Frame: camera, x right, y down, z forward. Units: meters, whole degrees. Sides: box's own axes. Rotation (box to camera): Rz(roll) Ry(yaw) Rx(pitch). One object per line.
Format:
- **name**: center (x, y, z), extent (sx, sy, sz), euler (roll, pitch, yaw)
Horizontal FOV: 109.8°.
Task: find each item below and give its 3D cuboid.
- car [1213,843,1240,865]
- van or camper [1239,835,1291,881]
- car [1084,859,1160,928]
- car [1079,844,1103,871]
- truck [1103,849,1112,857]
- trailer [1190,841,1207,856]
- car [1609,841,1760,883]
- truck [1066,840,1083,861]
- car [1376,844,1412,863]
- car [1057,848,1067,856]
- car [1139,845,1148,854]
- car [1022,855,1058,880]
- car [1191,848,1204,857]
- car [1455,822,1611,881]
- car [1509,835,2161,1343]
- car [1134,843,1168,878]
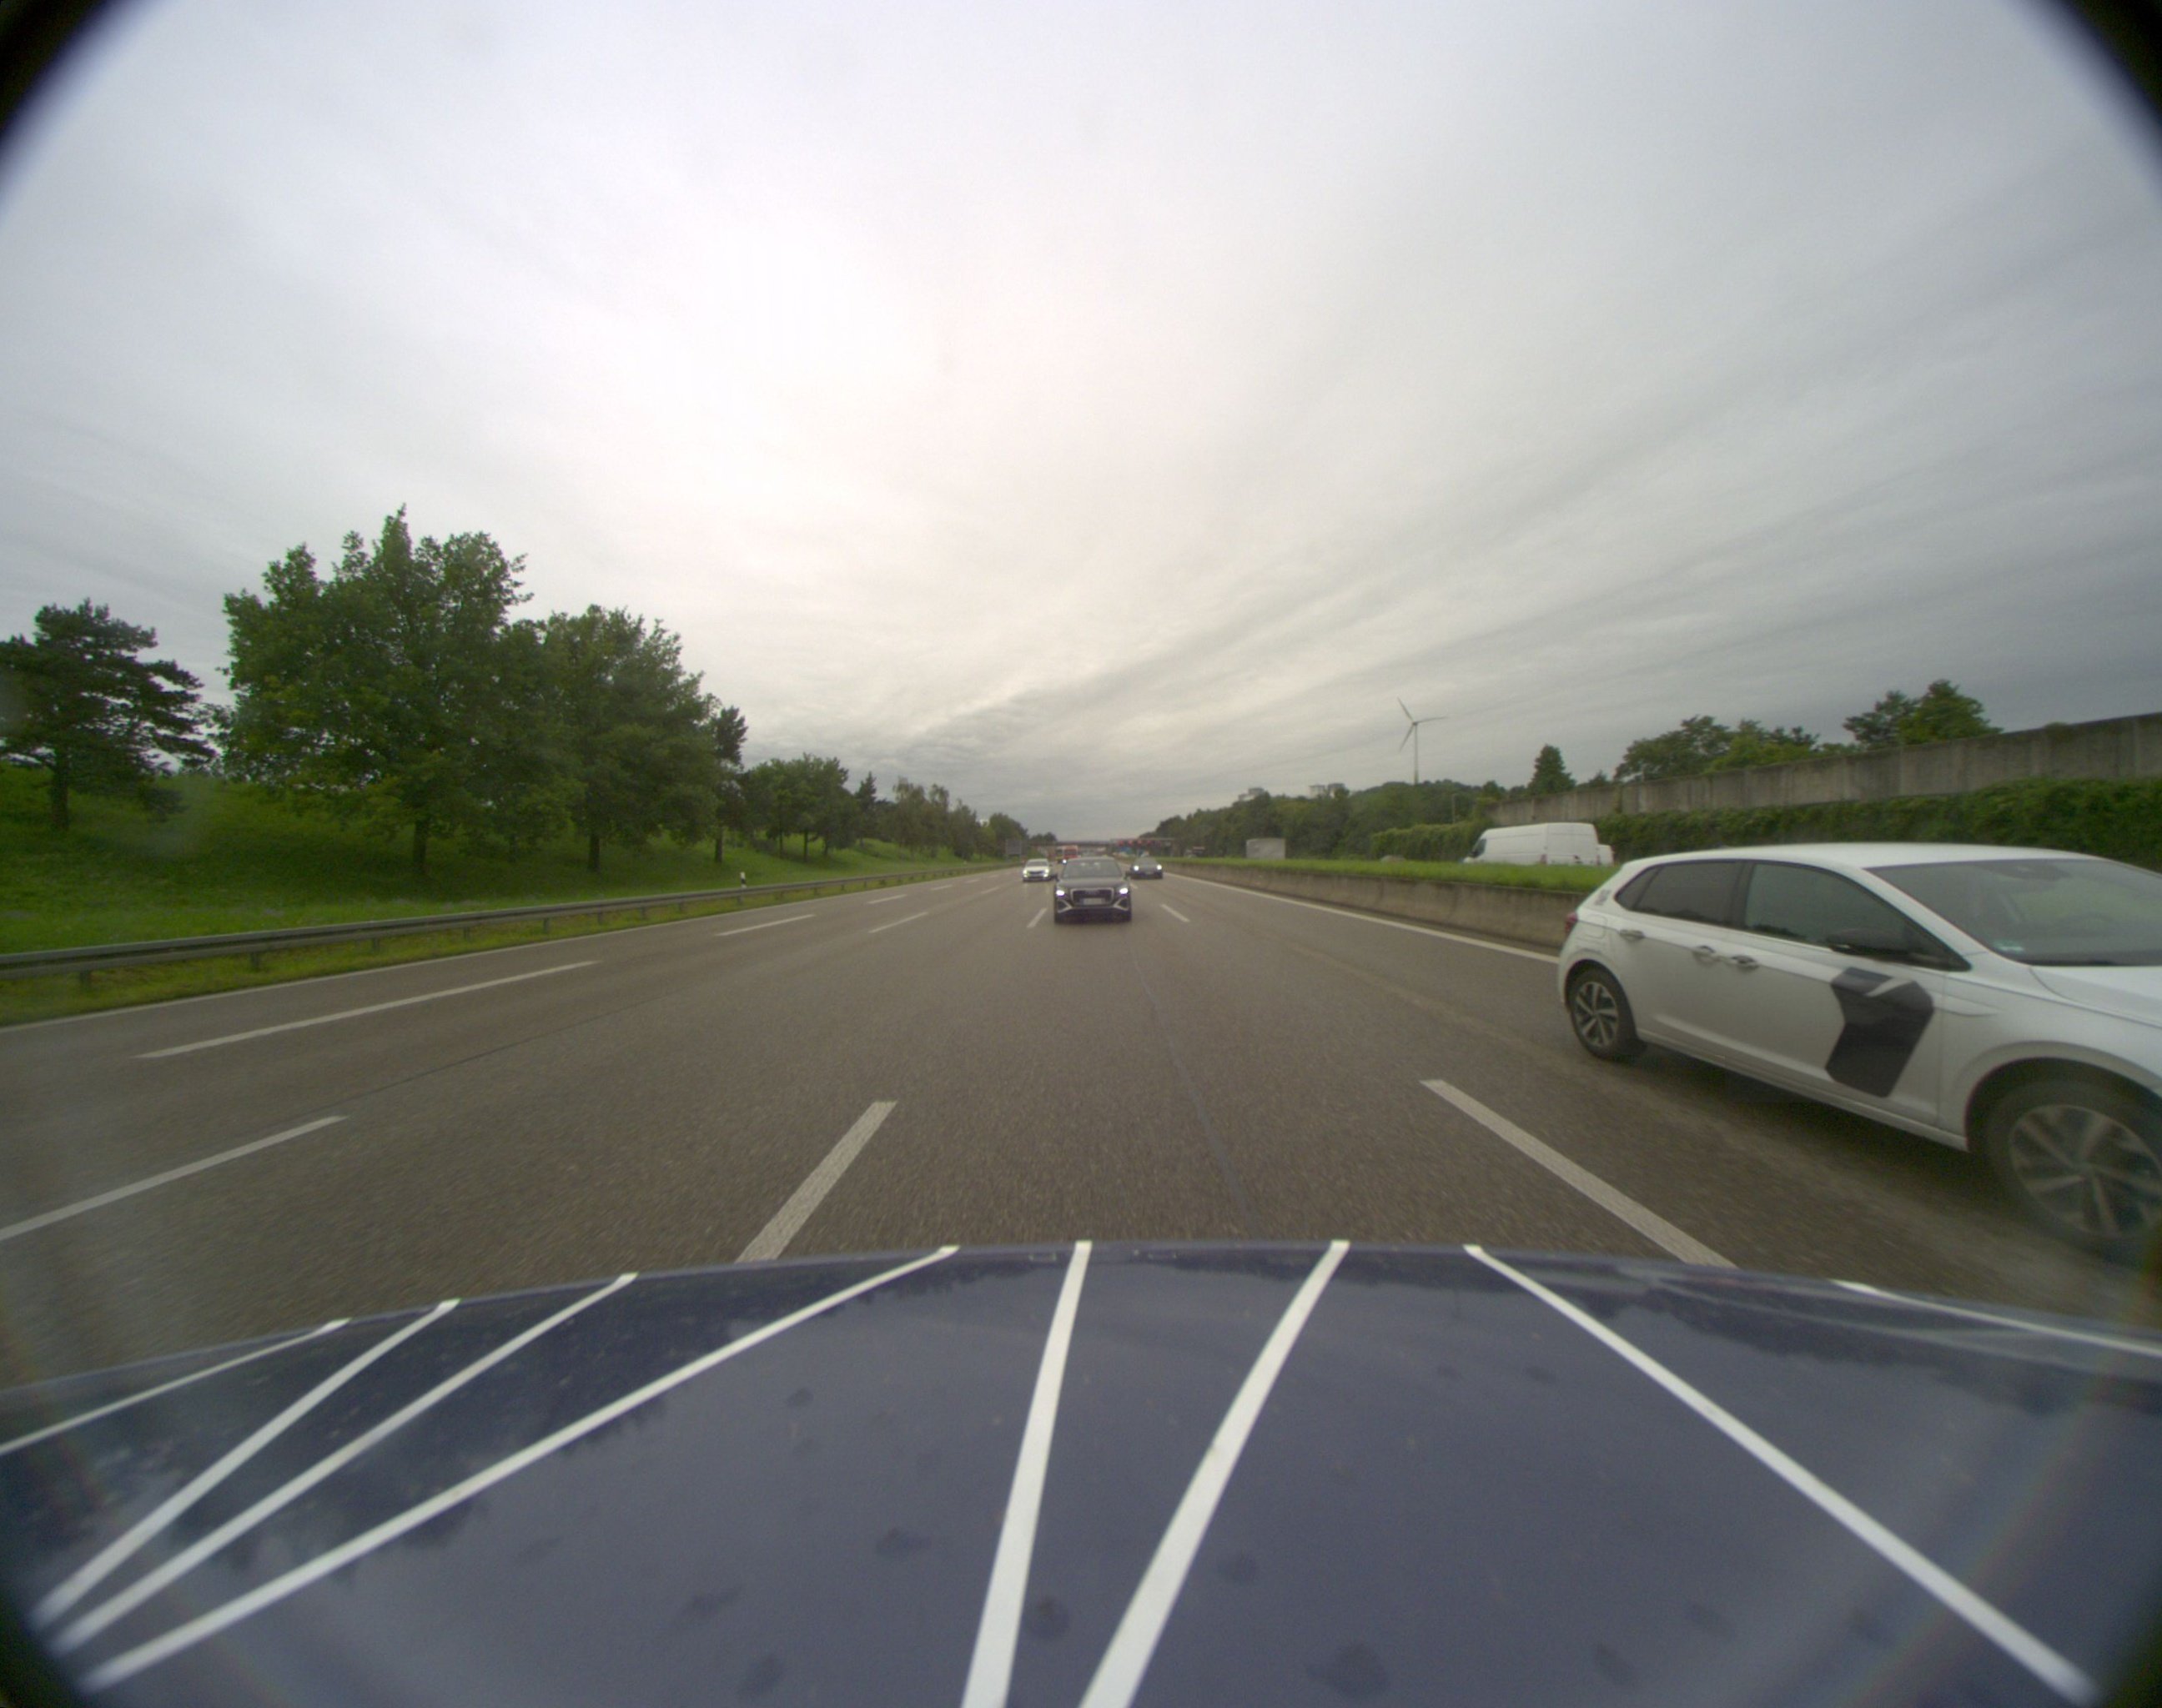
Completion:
- **car**: center (14.147, 0.018, 74.052), extent (1.772, 2.002, 4.000), euler (-2, 1, 1)
- **van or camper**: center (16.934, 0.274, 70.413), extent (2.714, 3.925, 8.401), euler (-2, 1, 1)
- **car**: center (0.913, 0.882, 18.482), extent (1.616, 1.403, 3.326), euler (-2, 1, 0)
- **car**: center (1.137, 0.318, 85.407), extent (2.459, 2.726, 8.265), euler (-2, 1, 1)
- **truck**: center (6.712, -0.160, 193.930), extent (1.998, 2.002, 4.000), euler (-2, 0, 1)
- **trailer**: center (25.940, -1.270, 168.087), extent (2.312, 3.271, 10.562), euler (-2, 1, 2)
- **car**: center (21.688, 0.250, 27.604), extent (1.884, 1.336, 4.527), euler (-2, 0, 0)
- **truck**: center (-1.101, -0.624, 138.797), extent (2.836, 3.634, 10.670), euler (-2, 1, 1)
- **car**: center (27.995, -0.048, 68.065), extent (1.622, 1.597, 4.068), euler (-2, 1, 2)
- **car**: center (-4.649, -0.513, 187.282), extent (1.998, 2.002, 4.000), euler (-2, 1, 2)
- **car**: center (19.845, -1.492, 239.916), extent (2.327, 2.719, 7.315), euler (-2, 1, 1)
- **car**: center (-2.683, 0.858, 50.699), extent (1.998, 1.555, 4.910), euler (-2, 0, 1)
- **car**: center (22.518, -0.359, 146.787), extent (1.787, 1.623, 4.293), euler (-2, 1, 0)
- **car**: center (16.972, -0.122, 29.083), extent (2.132, 1.901, 6.533), euler (-2, 1, 1)
- **car**: center (4.315, 0.730, 3.786), extent (1.757, 1.608, 4.663), euler (-1, 0, 0)
- **car**: center (4.321, 0.381, 47.440), extent (1.725, 2.002, 3.851), euler (-2, 1, 1)
